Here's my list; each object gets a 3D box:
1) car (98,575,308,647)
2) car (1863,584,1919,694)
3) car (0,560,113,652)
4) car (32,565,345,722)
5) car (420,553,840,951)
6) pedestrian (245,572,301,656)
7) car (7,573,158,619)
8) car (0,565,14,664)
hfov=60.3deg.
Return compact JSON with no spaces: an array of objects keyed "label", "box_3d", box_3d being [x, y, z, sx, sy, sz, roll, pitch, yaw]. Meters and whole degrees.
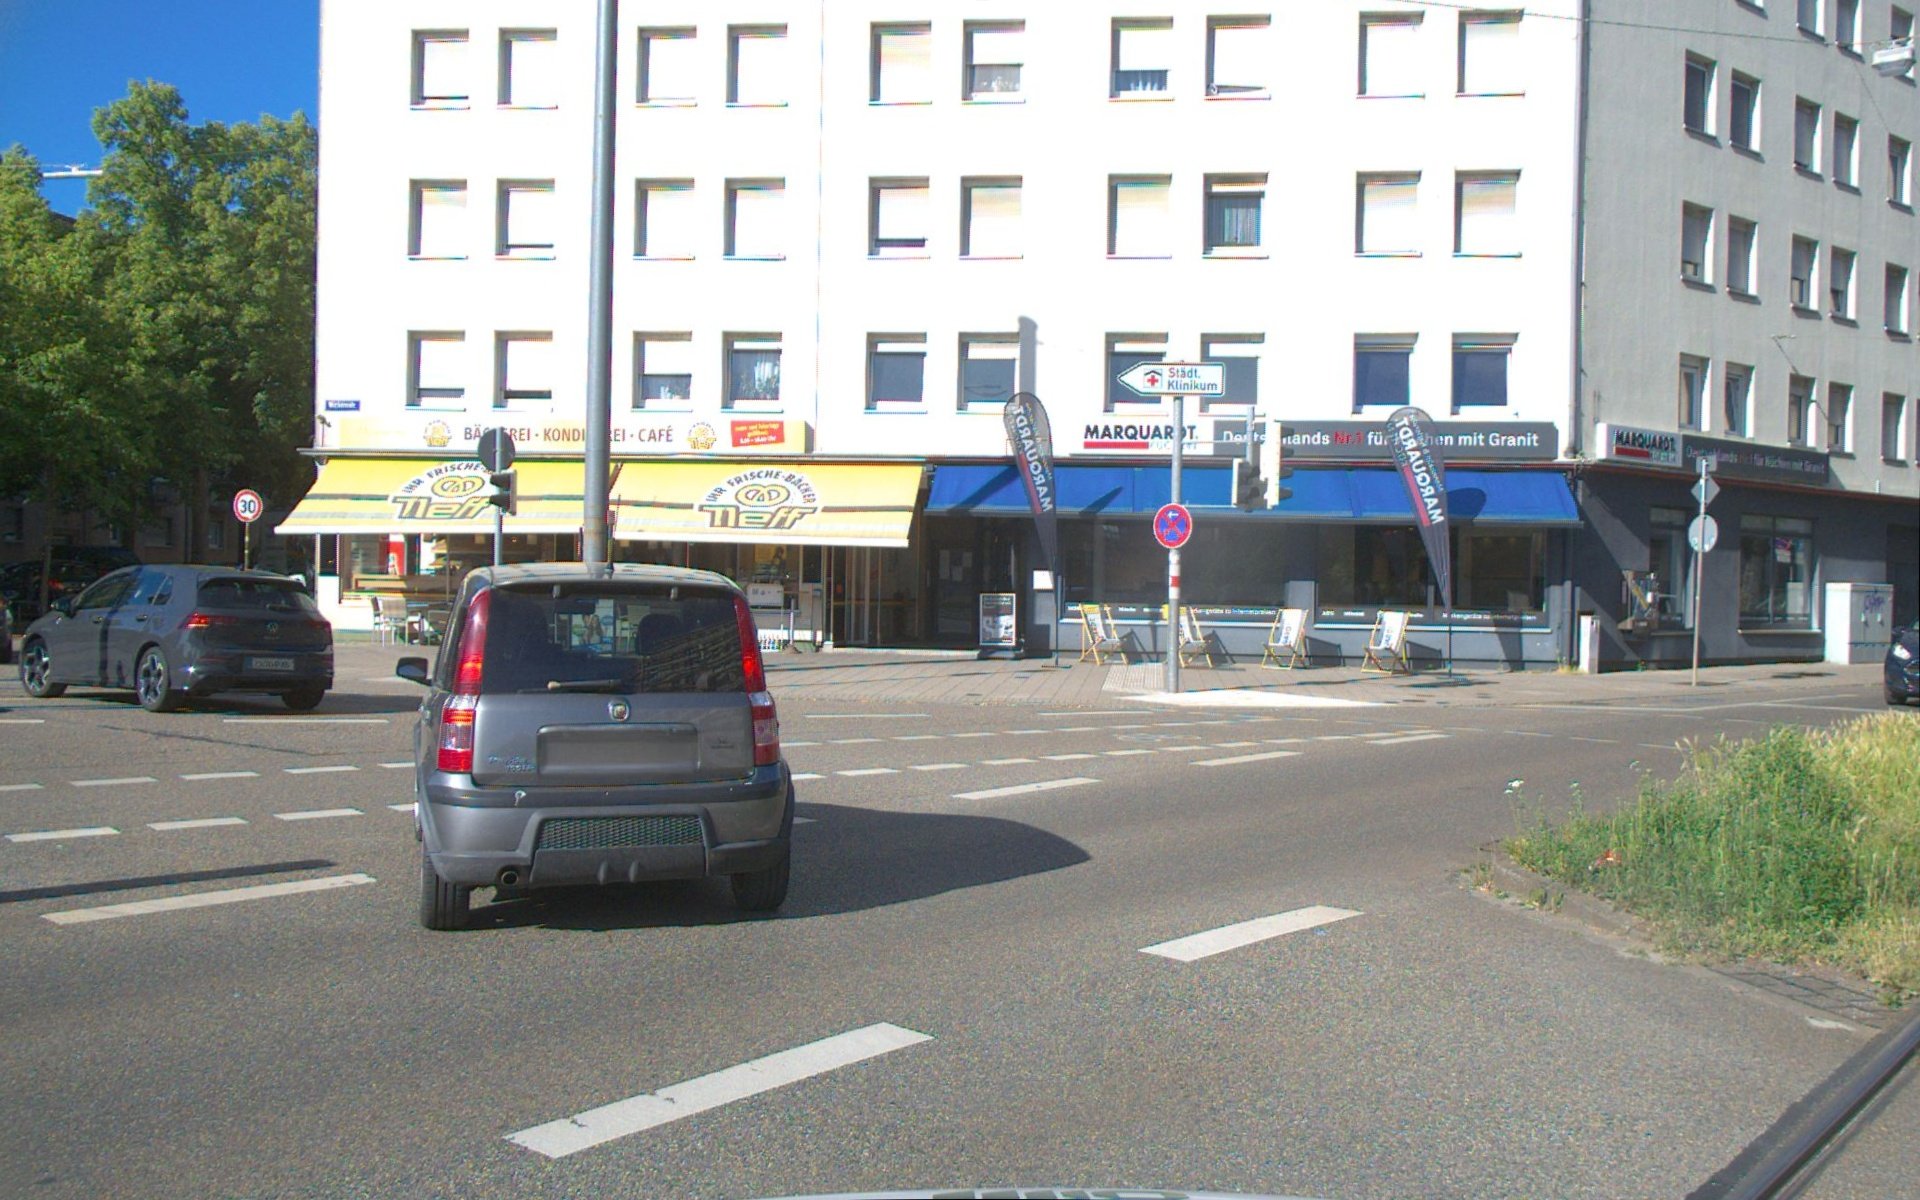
[{"label":"car","box_3d":[-15.213,0.185,33.490,1.951,1.333,4.004,1,1,9]},{"label":"car","box_3d":[13.825,0.511,22.532,1.766,1.420,3.699,1,1,44]},{"label":"car","box_3d":[-17.560,0.063,31.135,1.716,1.606,4.408,0,1,-11]},{"label":"car","box_3d":[-8.143,0.383,17.339,3.620,1.454,1.618,1,1,40]},{"label":"car","box_3d":[-1.794,0.565,8.189,1.635,1.536,3.234,0,1,-19]},{"label":"pedestrian","box_3d":[-13.744,0.273,33.108,0.775,1.649,0.830,0,1,-1]},{"label":"car","box_3d":[-23.763,-0.114,44.824,3.409,1.211,1.645,0,1,-39]},{"label":"car","box_3d":[-16.290,0.183,26.588,1.743,1.512,4.247,0,1,-32]}]
